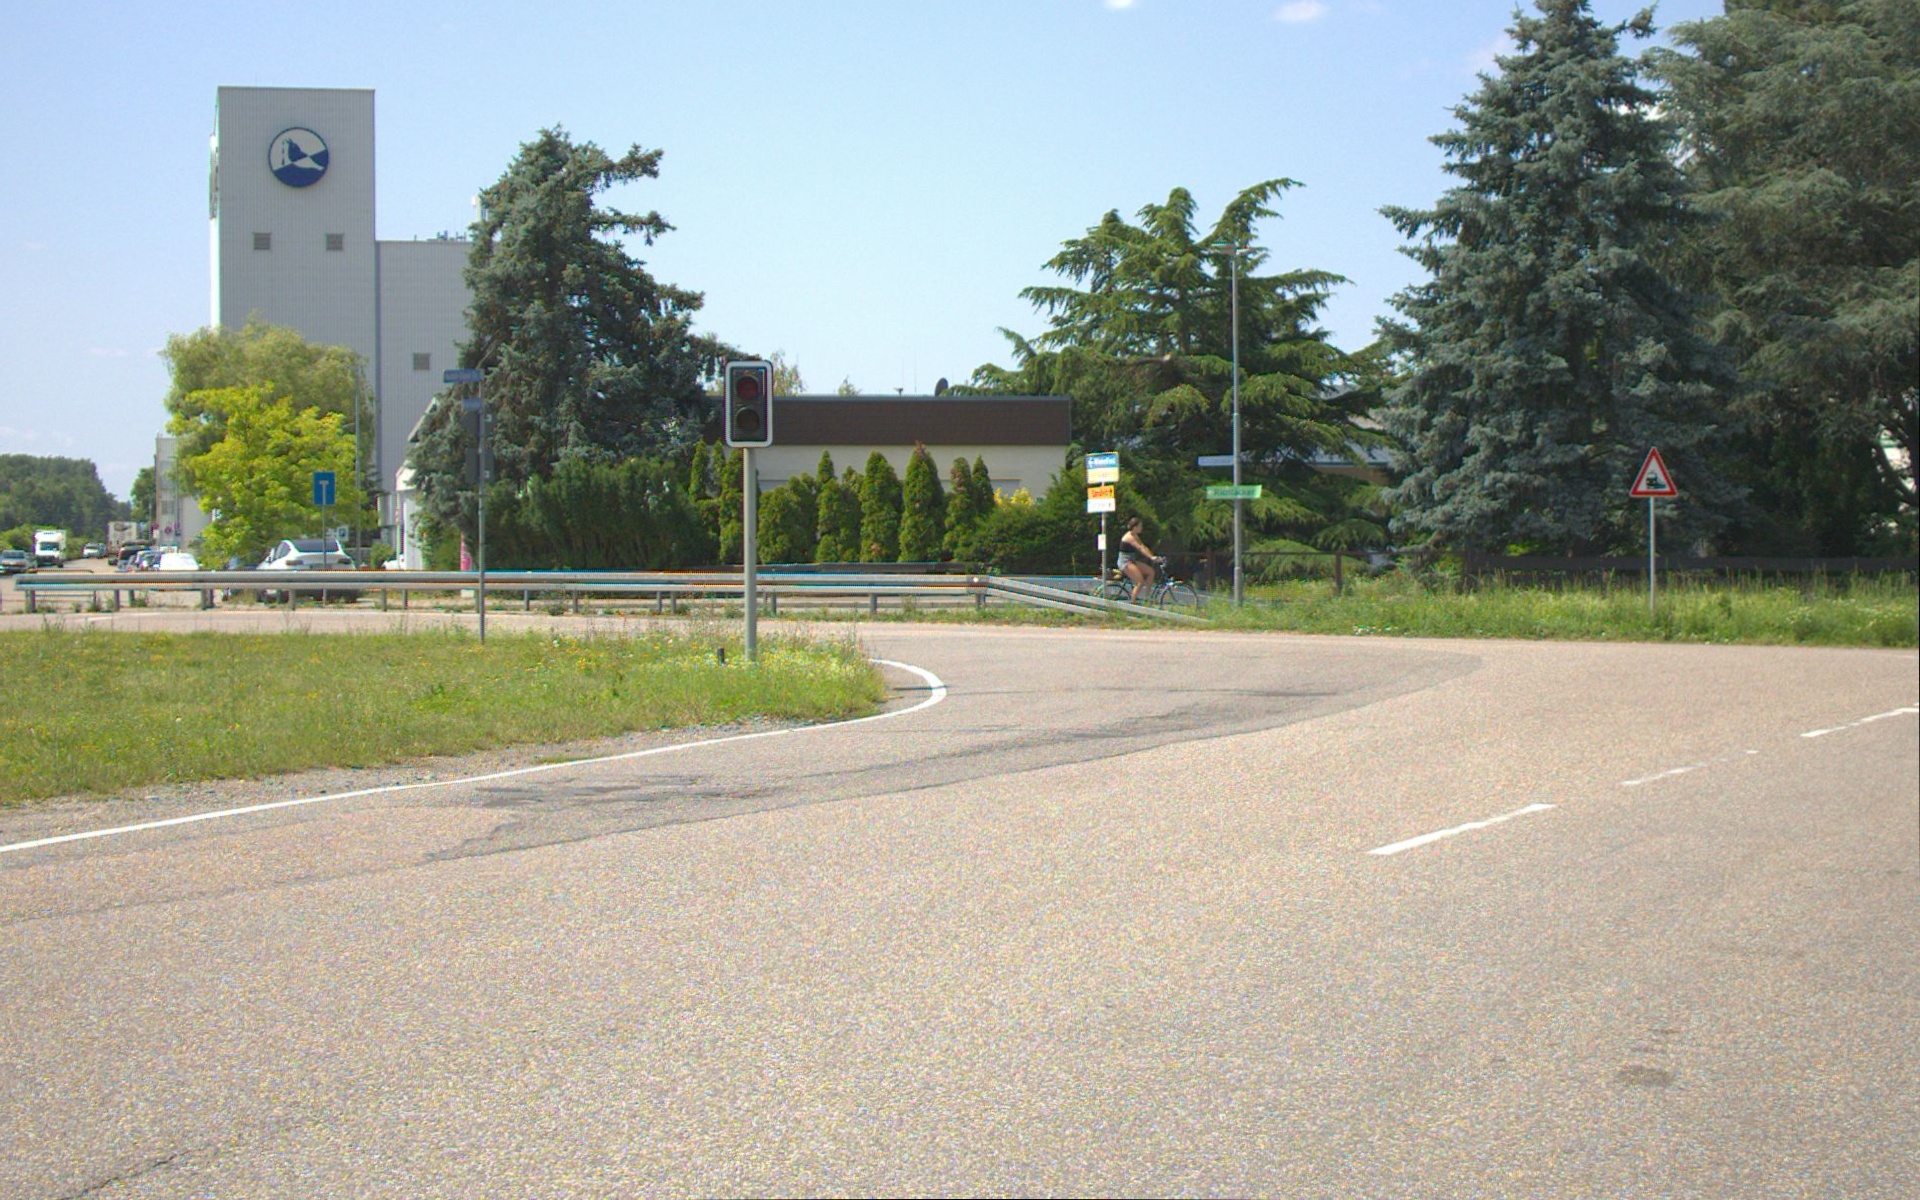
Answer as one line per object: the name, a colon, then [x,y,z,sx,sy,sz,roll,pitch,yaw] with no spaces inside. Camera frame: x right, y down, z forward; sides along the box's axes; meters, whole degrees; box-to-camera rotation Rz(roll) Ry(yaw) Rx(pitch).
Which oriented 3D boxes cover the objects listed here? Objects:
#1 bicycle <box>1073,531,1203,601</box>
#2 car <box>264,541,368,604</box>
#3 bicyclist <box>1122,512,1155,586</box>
bicycle: [3.033,-0.584,58.497,2.140,1.161,0.661,0,1,9]
car: [-16.109,-0.711,85.866,1.993,1.504,4.456,-1,2,-18]
bicyclist: [3.040,-0.876,58.472,0.510,1.251,0.469,0,1,9]
